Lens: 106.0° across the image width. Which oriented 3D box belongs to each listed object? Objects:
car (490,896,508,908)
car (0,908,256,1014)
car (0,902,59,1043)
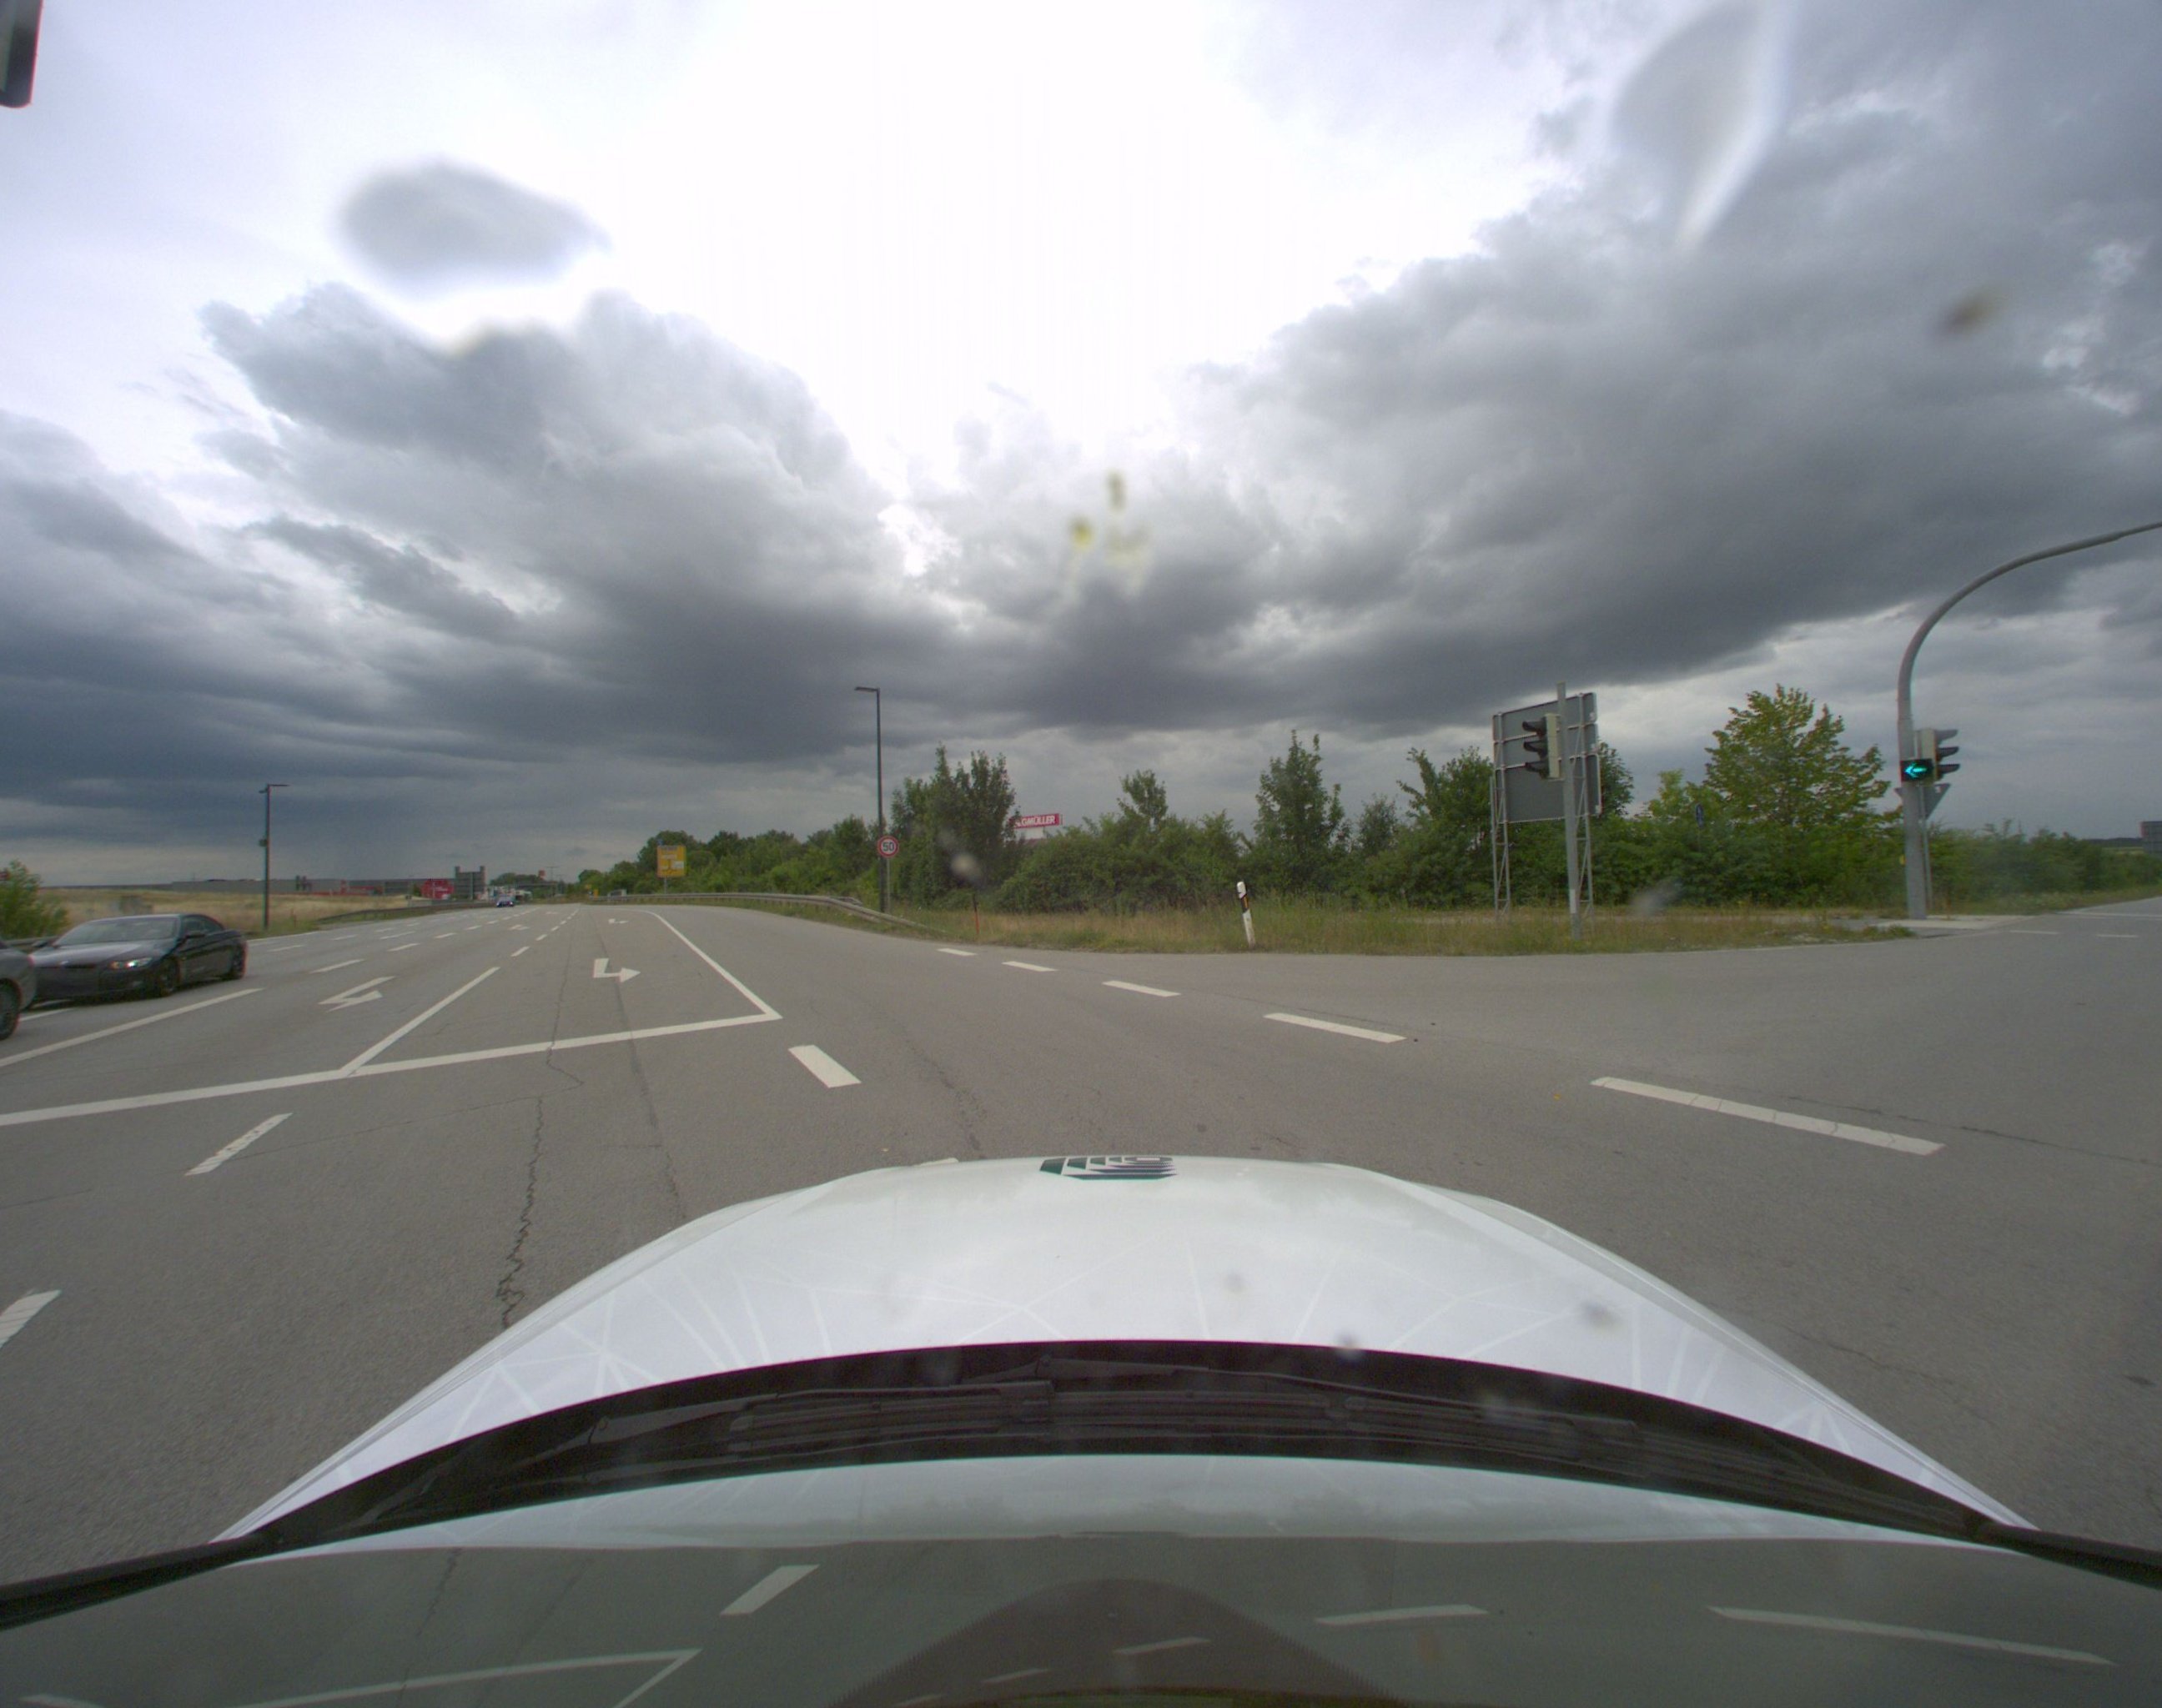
[{"bbox_3d":[-79.449,6.543,111.270,1.810,1.551,3.958,-1,-2,-33],"label":"car"},{"bbox_3d":[-16.436,1.725,14.231,1.718,1.410,4.627,-1,-2,-31],"label":"car"},{"bbox_3d":[-12.756,1.397,7.872,1.927,1.610,4.899,-3,0,-31],"label":"car"}]
